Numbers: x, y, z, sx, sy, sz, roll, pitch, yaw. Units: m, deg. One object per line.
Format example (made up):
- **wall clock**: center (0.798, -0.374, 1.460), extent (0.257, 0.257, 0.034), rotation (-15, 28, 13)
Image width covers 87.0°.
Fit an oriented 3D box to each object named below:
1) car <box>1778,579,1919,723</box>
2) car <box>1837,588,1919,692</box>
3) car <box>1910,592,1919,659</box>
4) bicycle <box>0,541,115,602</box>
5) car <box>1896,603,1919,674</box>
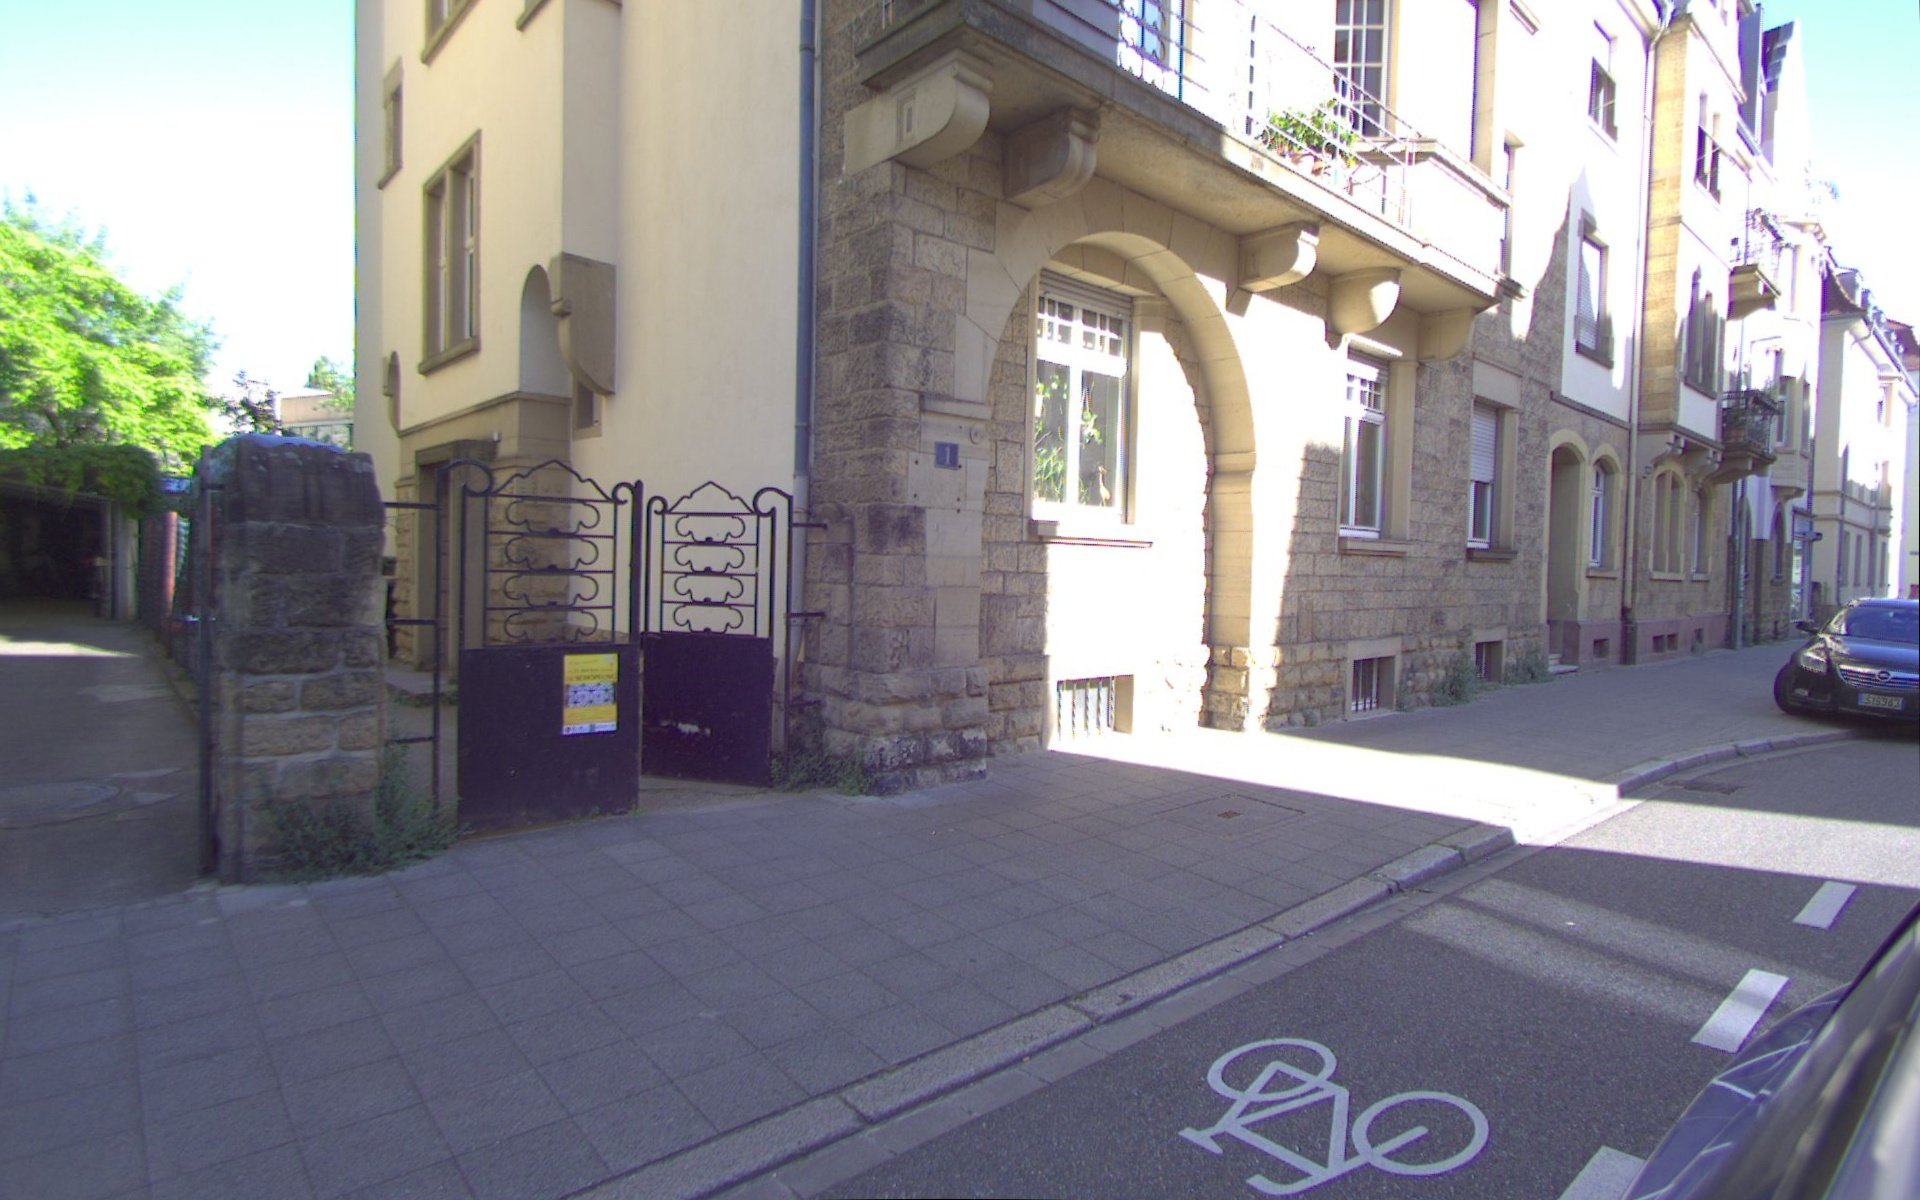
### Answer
- **car**: center (11.518, 0.532, 12.244), extent (4.265, 1.480, 1.869), rotation (0, 3, -42)
- **car**: center (15.414, 0.585, 16.150), extent (4.186, 1.460, 1.654), rotation (0, 3, -43)
- **car**: center (22.509, 0.577, 22.583), extent (1.787, 1.447, 3.746), rotation (3, 2, 44)
- **bicycle**: center (-18.369, -0.602, 20.454), extent (2.834, 1.124, 0.865), rotation (3, 2, 25)
- **car**: center (19.374, 0.731, 19.565), extent (3.876, 1.270, 1.694), rotation (0, 1, -44)
